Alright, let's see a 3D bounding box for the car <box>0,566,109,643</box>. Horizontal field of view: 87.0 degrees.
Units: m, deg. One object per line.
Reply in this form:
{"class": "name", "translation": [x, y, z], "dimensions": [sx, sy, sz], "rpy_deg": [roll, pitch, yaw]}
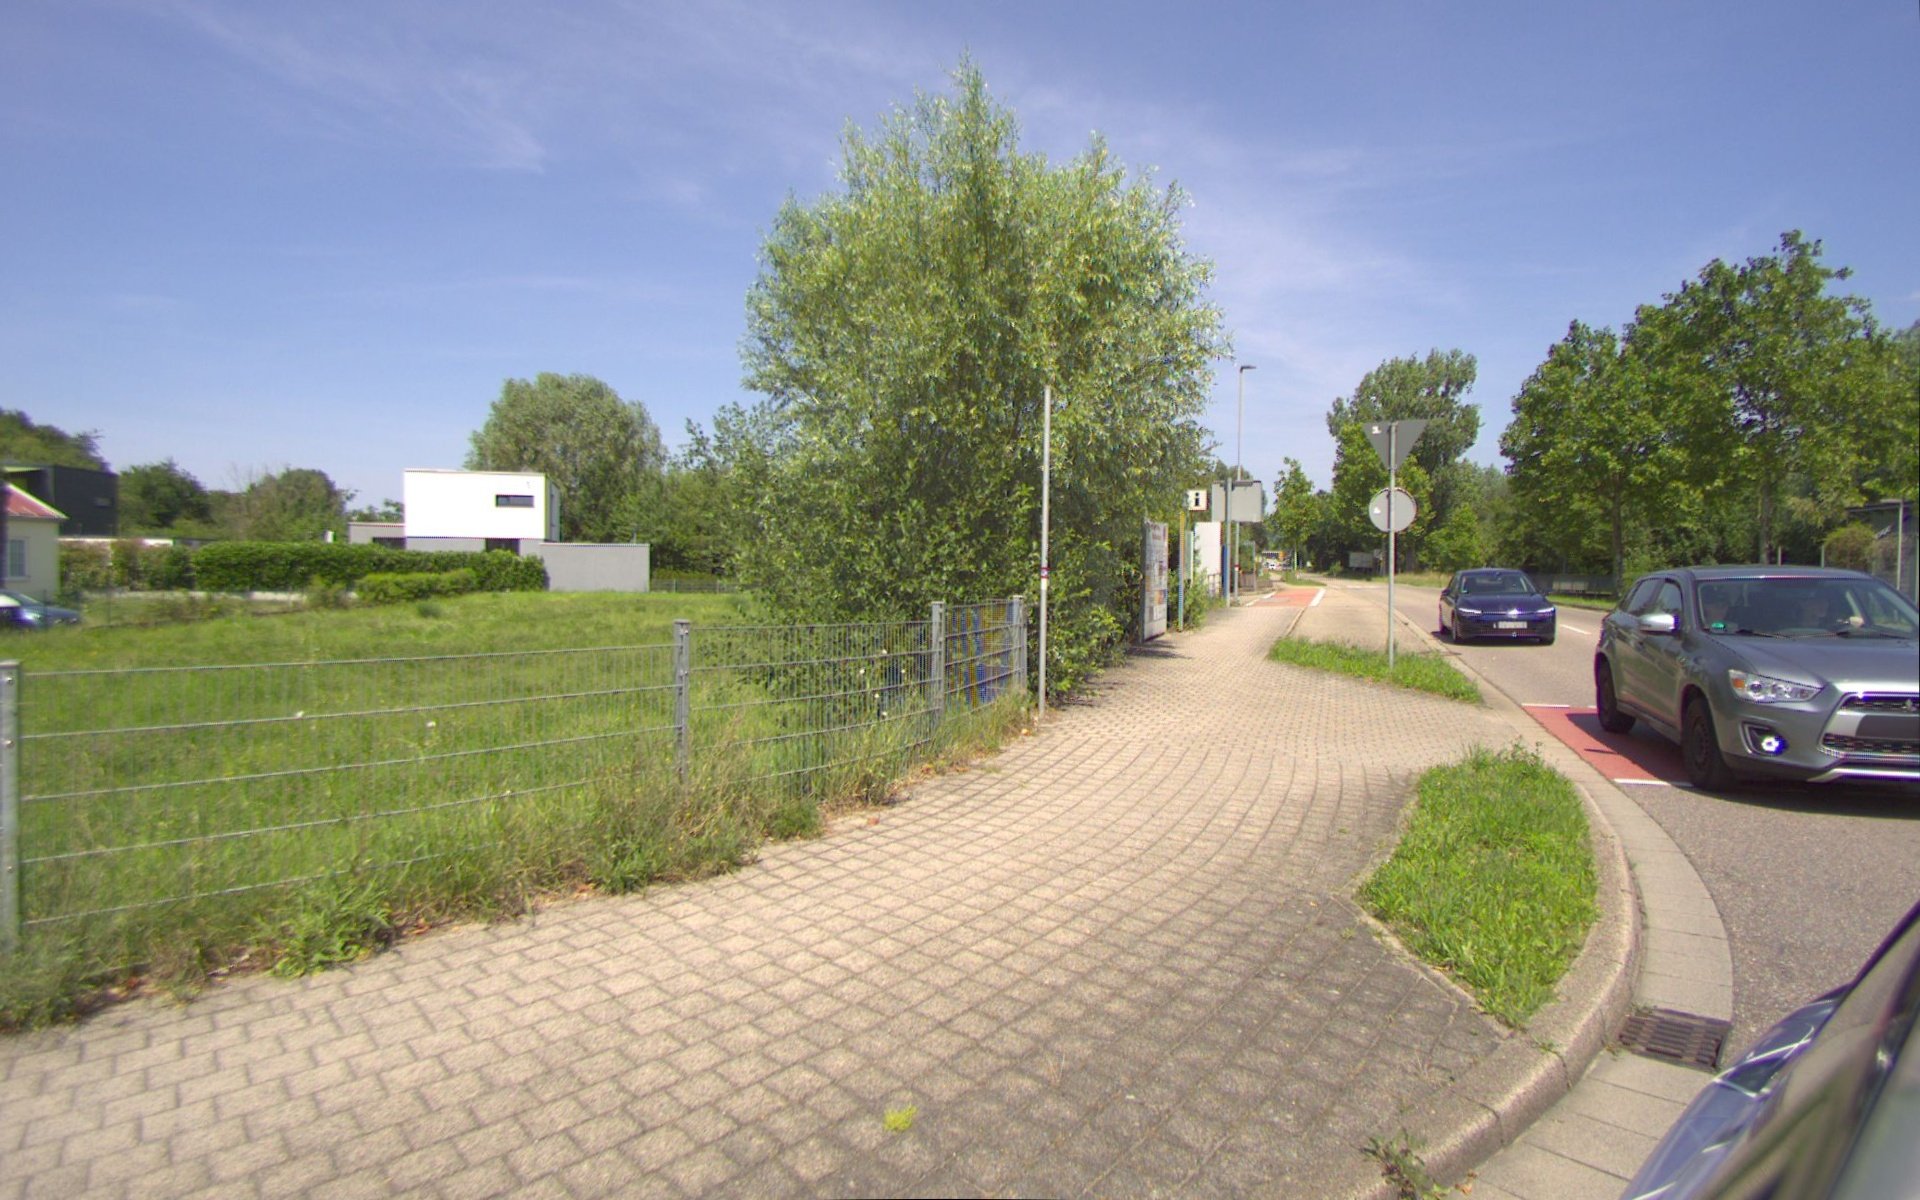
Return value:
{"class": "car", "translation": [-27.155, 0.135, 28.227], "dimensions": [4.833, 2.038, 2.073], "rpy_deg": [-2, 2, -6]}

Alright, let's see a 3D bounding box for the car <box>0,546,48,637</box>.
{"class": "car", "translation": [-26.072, -0.148, 24.817], "dimensions": [5.079, 2.228, 2.219], "rpy_deg": [-2, 2, -8]}

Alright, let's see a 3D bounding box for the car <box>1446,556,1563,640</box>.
{"class": "car", "translation": [11.086, -0.103, 20.852], "dimensions": [1.775, 1.559, 4.099], "rpy_deg": [0, 2, 24]}

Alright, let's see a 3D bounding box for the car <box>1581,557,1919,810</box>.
{"class": "car", "translation": [6.616, 0.425, 8.327], "dimensions": [1.730, 1.552, 4.495], "rpy_deg": [1, 2, 21]}
